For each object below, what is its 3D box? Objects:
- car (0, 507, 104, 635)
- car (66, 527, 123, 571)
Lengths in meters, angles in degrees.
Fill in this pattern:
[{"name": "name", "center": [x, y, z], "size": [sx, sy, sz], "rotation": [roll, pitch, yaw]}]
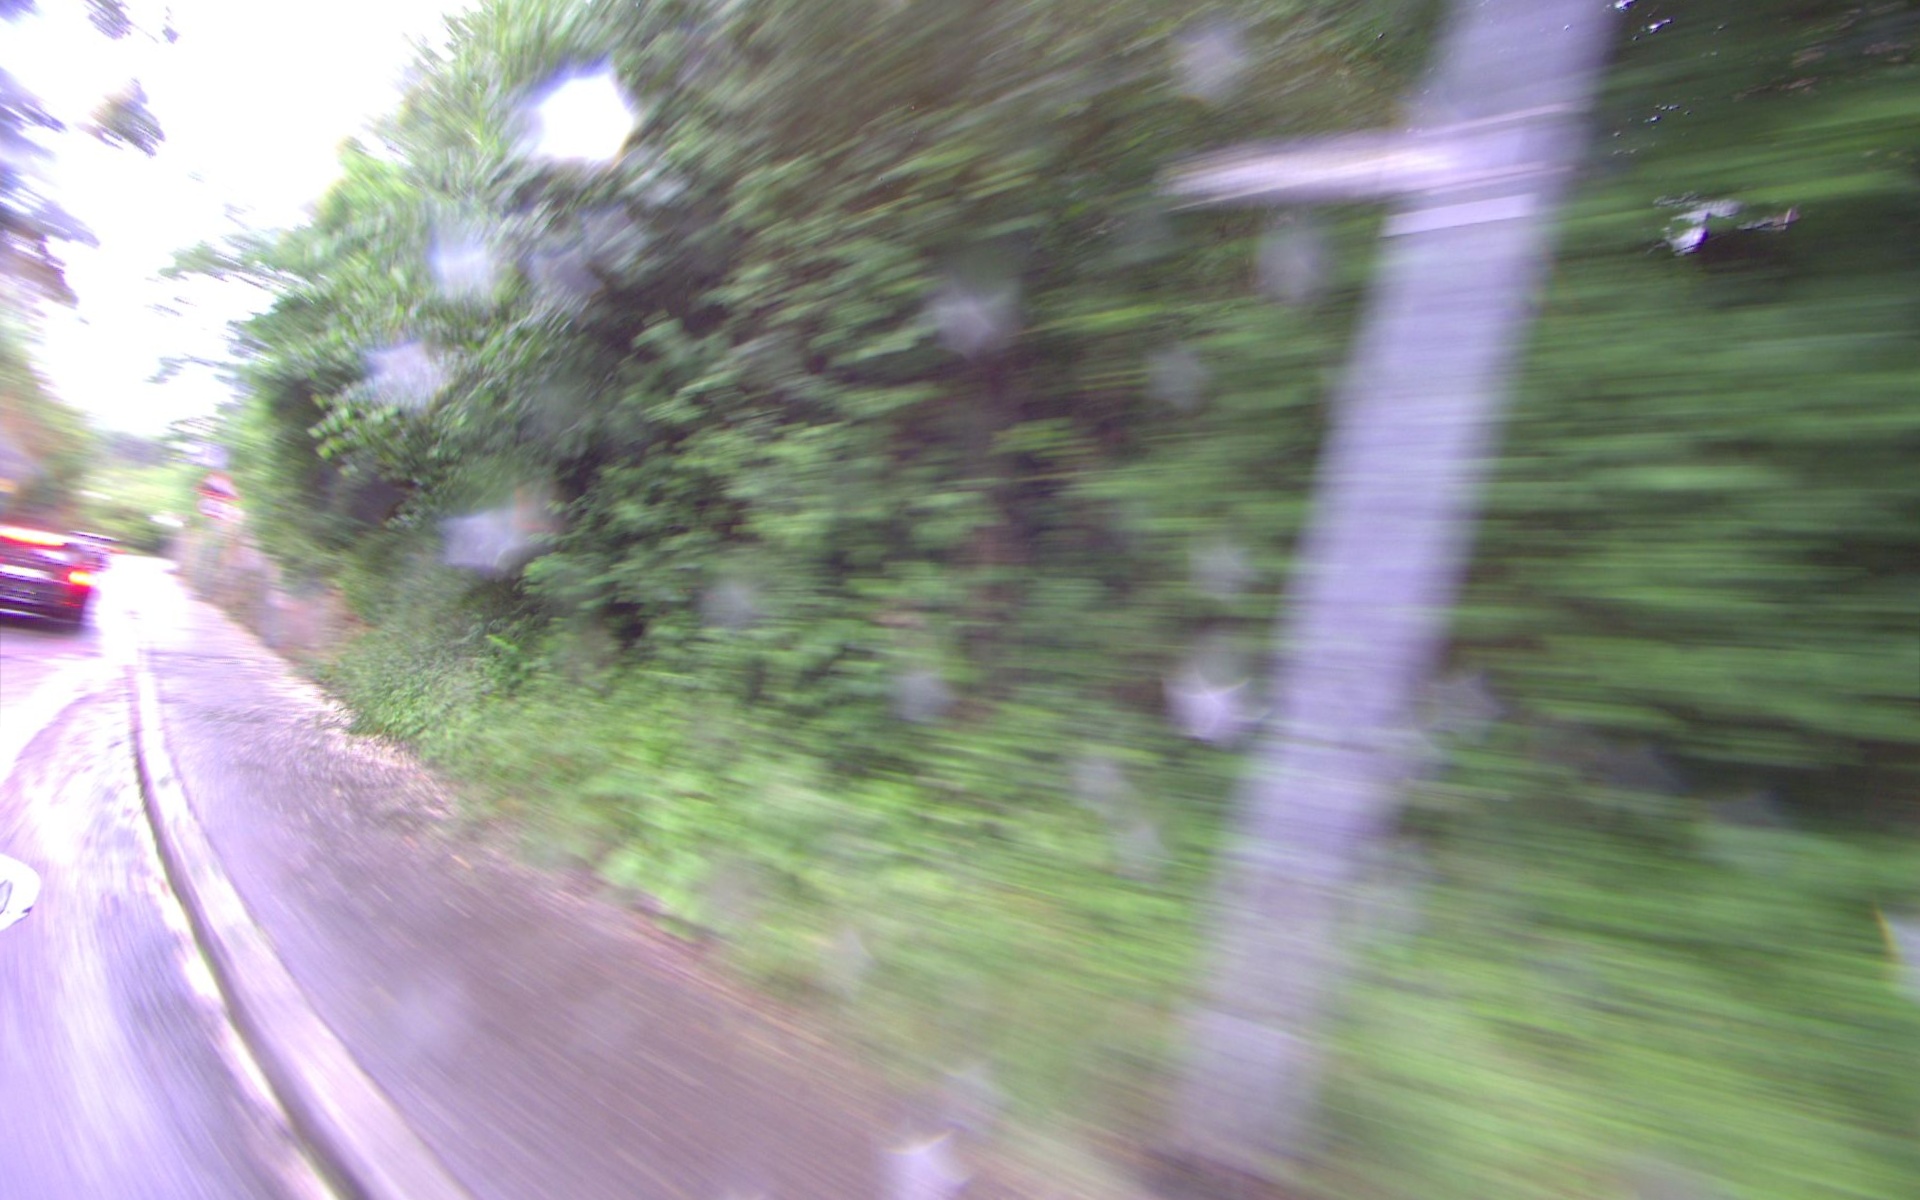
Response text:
[{"name": "car", "center": [-14.907, -0.561, 16.039], "size": [1.695, 1.466, 3.953], "rotation": [12, -1, -40]}, {"name": "car", "center": [-43.981, -2.602, 51.202], "size": [1.860, 1.759, 3.956], "rotation": [15, -7, -40]}]
